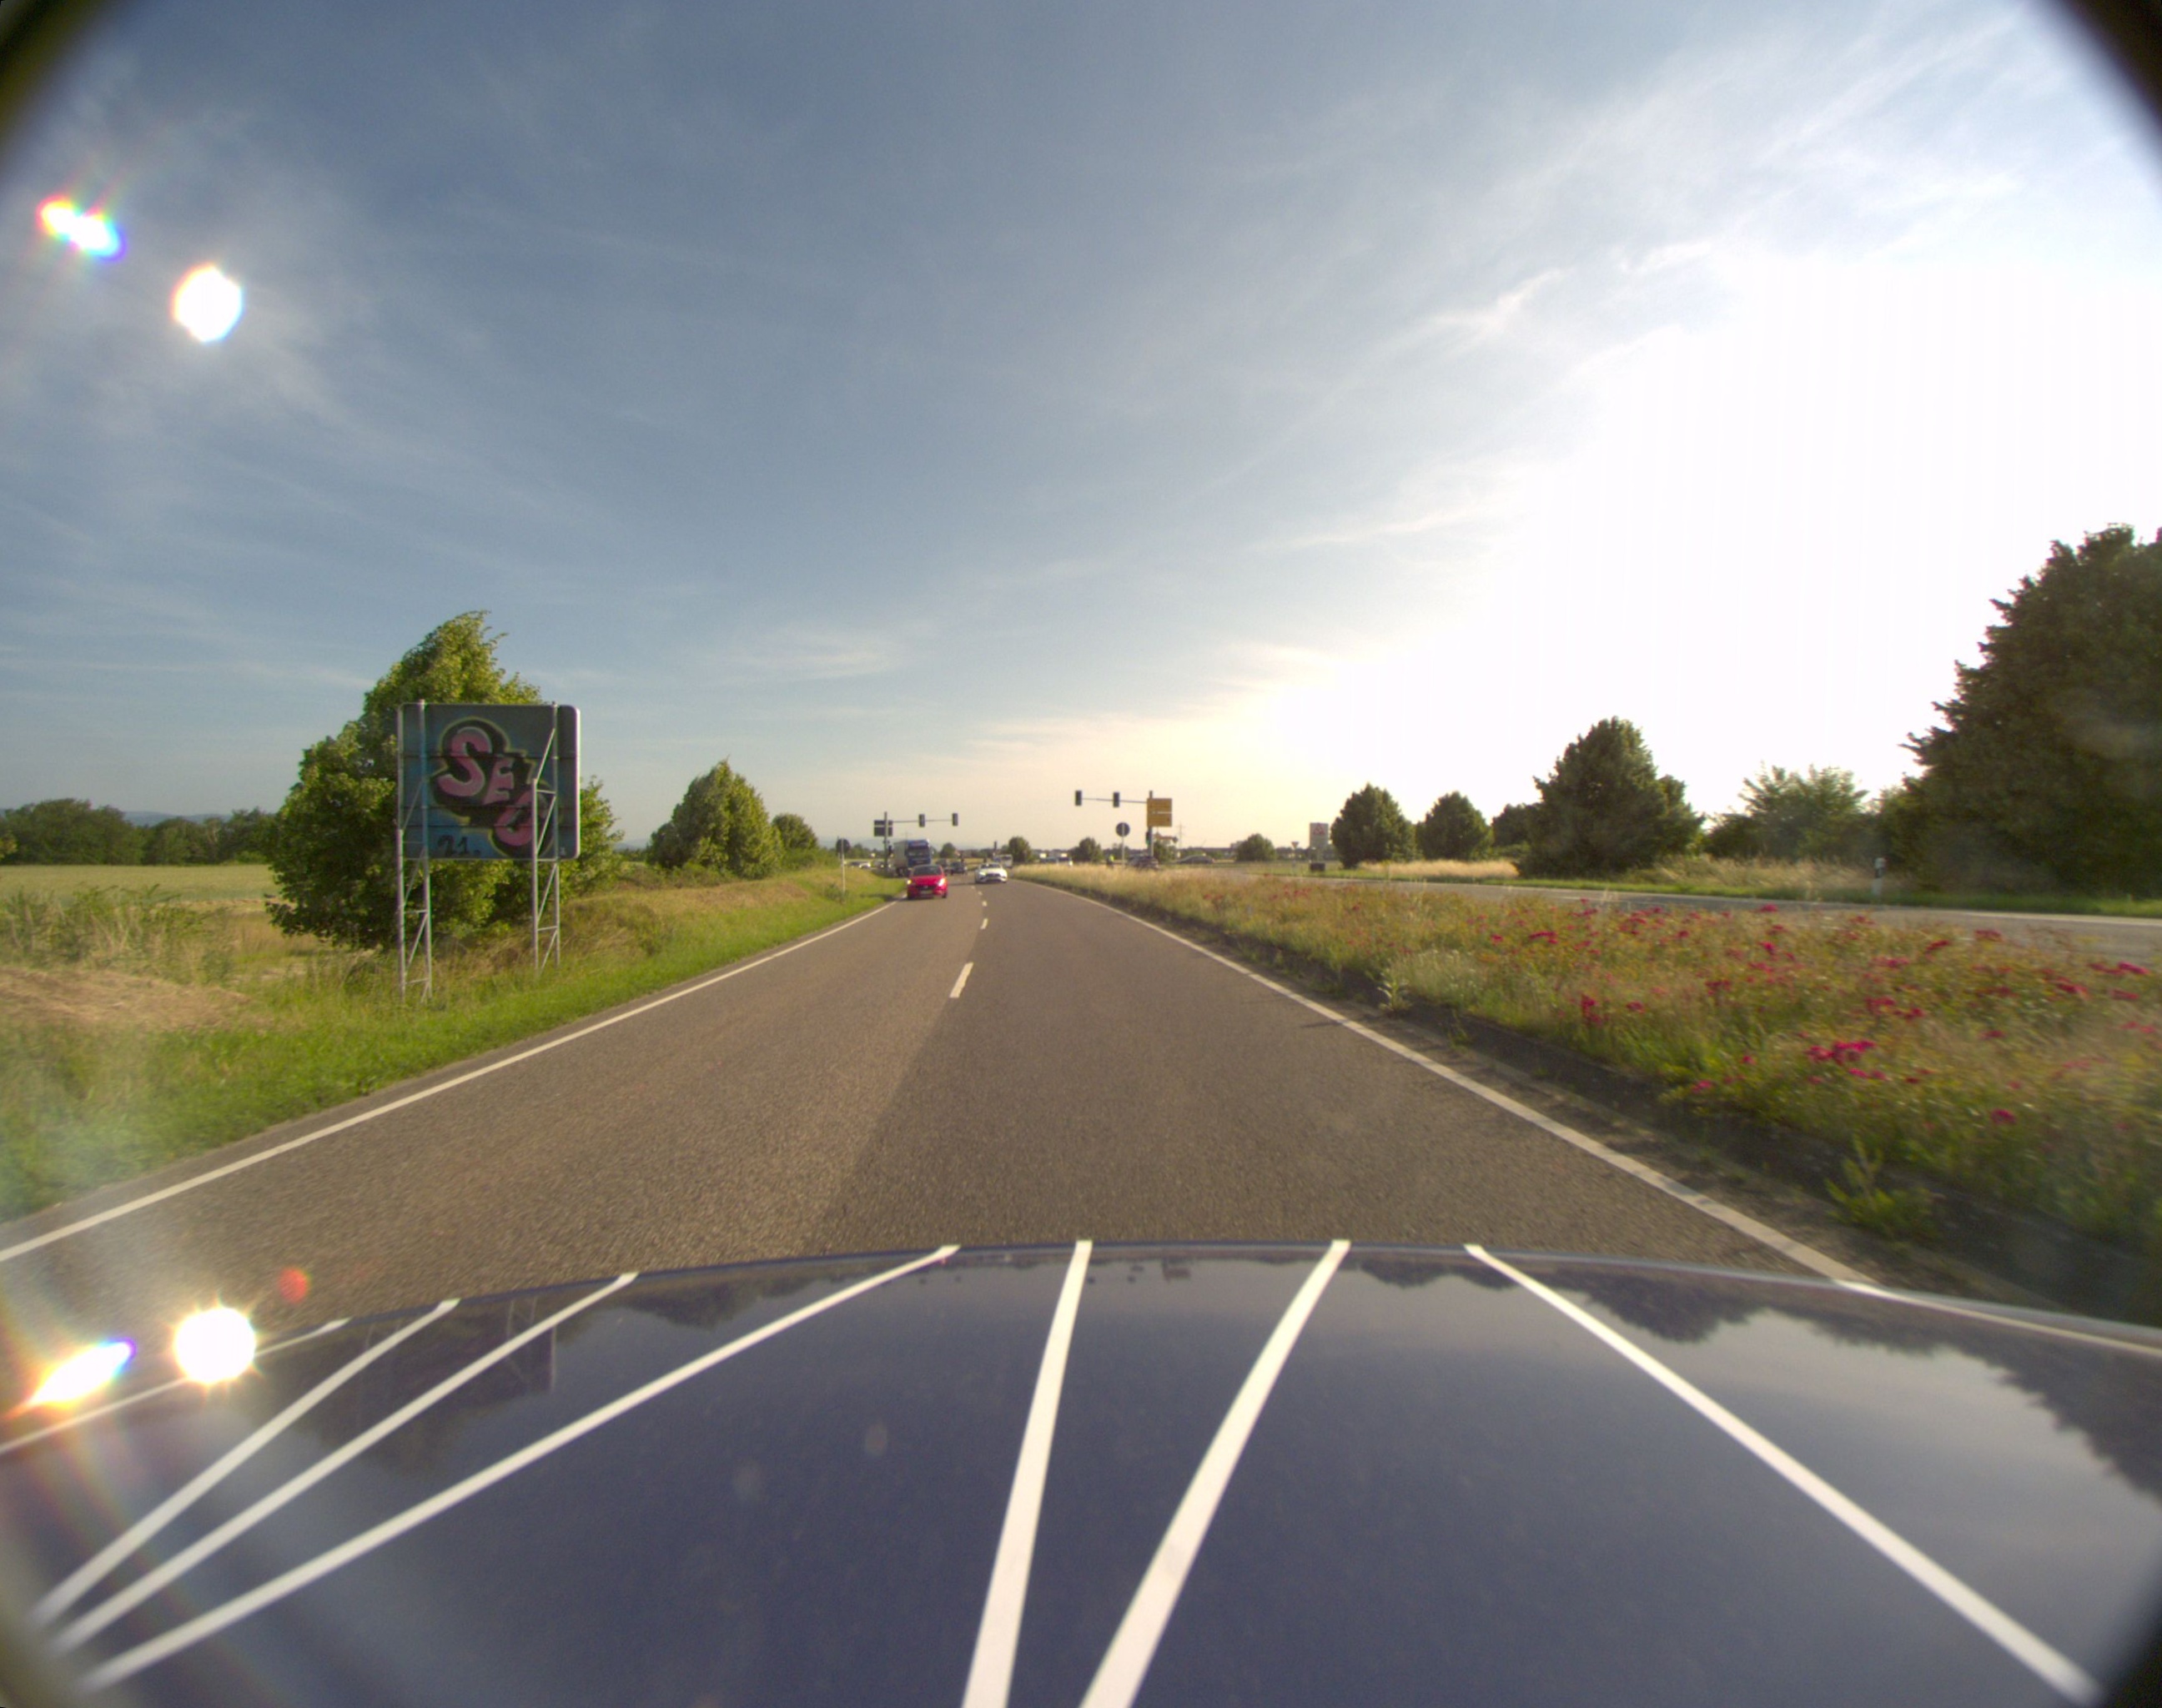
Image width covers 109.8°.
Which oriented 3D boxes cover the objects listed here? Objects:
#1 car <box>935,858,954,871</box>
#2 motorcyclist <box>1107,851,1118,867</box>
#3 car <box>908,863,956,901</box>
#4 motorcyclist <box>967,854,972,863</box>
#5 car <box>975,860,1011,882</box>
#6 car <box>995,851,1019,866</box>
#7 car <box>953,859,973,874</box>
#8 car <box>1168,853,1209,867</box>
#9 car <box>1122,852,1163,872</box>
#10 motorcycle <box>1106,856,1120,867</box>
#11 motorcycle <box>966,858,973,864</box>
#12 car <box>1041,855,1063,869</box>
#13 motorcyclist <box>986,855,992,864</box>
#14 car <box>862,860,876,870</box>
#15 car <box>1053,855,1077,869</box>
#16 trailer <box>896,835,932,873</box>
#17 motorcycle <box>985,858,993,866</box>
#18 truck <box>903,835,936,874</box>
[{"bbox_3d":[-16.752,1.317,93.224,1.833,1.521,3.994,-1,0,-17],"label":"car"},{"bbox_3d":[3.008,0.477,73.176,0.755,1.595,1.248,-2,1,-12],"label":"motorcyclist"},{"bbox_3d":[-6.608,1.209,34.036,1.666,1.455,3.953,-2,0,-5],"label":"car"},{"bbox_3d":[-20.014,0.789,136.676,0.700,1.494,0.895,-2,0,-21],"label":"motorcyclist"},{"bbox_3d":[-6.088,1.129,52.100,1.878,1.390,4.199,-1,0,-14],"label":"car"},{"bbox_3d":[-10.121,0.643,103.426,2.001,1.892,5.779,-2,0,-18],"label":"car"},{"bbox_3d":[-12.475,1.305,79.963,1.753,1.521,3.995,-1,0,-13],"label":"car"},{"bbox_3d":[11.969,0.630,84.346,4.003,1.390,1.957,-2,0,-19],"label":"car"},{"bbox_3d":[4.970,0.635,62.233,1.920,1.556,4.605,-2,0,-14],"label":"car"},{"bbox_3d":[3.060,0.716,73.090,0.755,1.087,2.305,-2,0,-12],"label":"motorcycle"},{"bbox_3d":[-20.008,1.283,136.712,0.704,1.131,2.273,-2,0,-22],"label":"motorcycle"},{"bbox_3d":[-3.135,0.818,80.735,1.684,1.435,3.748,-2,0,-12],"label":"car"},{"bbox_3d":[-15.155,0.836,125.057,0.707,1.456,1.018,-2,1,-22],"label":"motorcyclist"},{"bbox_3d":[-41.804,2.167,149.850,2.002,1.871,3.992,-1,0,-25],"label":"car"},{"bbox_3d":[-1.926,0.897,88.934,1.712,1.516,4.129,-2,0,-17],"label":"car"},{"bbox_3d":[-19.523,0.002,88.203,2.655,3.956,13.909,-3,1,-18],"label":"trailer"},{"bbox_3d":[-15.117,1.312,124.983,0.711,1.152,2.019,-2,0,-23],"label":"motorcycle"},{"bbox_3d":[-17.460,0.022,81.789,2.655,3.897,5.941,-3,1,-18],"label":"truck"}]
